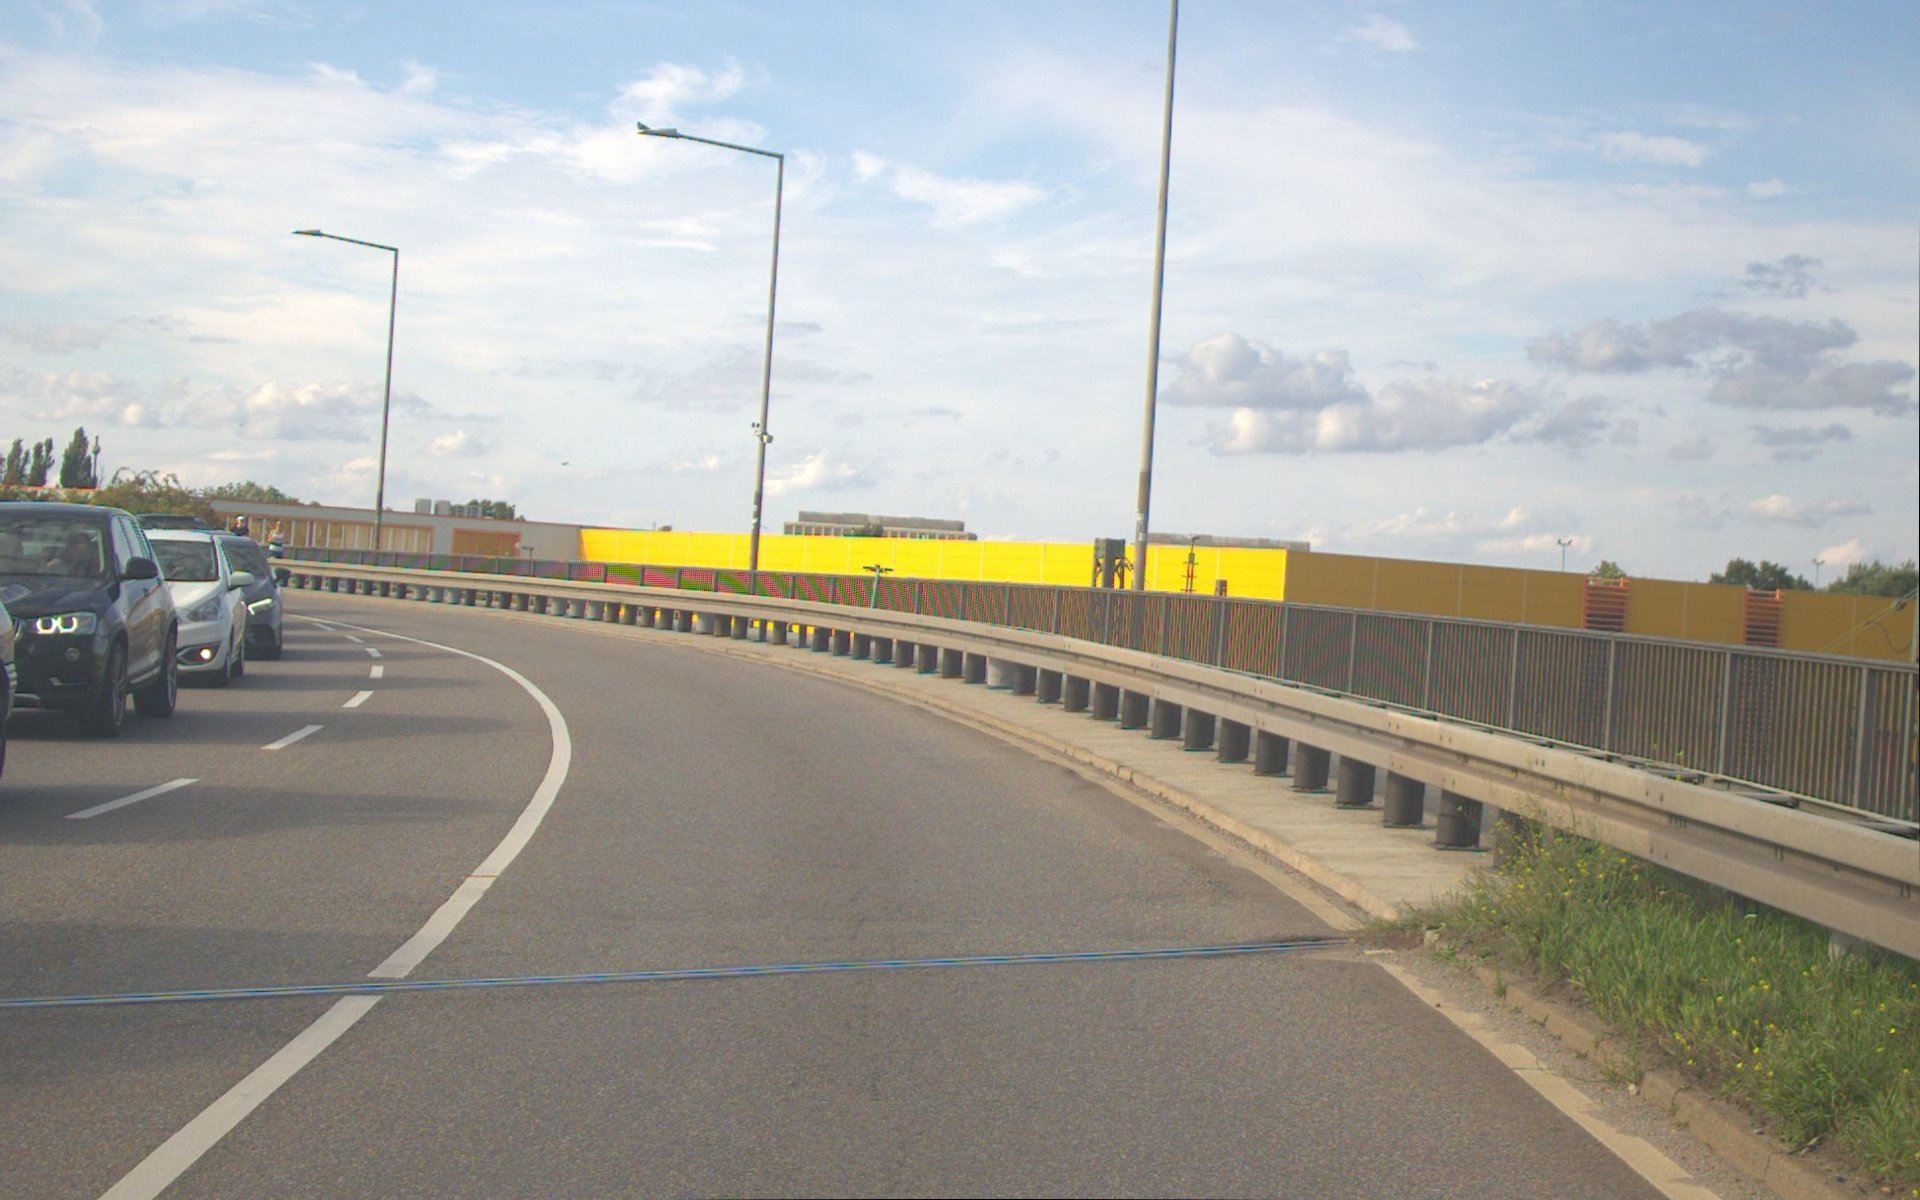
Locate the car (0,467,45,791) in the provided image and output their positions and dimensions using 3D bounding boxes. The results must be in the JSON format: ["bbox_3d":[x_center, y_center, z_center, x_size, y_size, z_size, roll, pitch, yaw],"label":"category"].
[{"bbox_3d":[-5.986,0.159,17.429,1.773,1.740,3.838,1,1,-2],"label":"car"}]

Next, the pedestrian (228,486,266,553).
[{"bbox_3d":[-18.112,-2.048,87.323,0.676,1.656,0.865,1,1,-31],"label":"pedestrian"}]

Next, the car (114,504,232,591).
[{"bbox_3d":[-14.285,-0.977,62.266,1.759,1.484,4.447,1,1,-17],"label":"car"}]

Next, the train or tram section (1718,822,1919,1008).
[{"bbox_3d":[29.210,8.862,99.008,16.693,4.696,3.097,1,1,-31],"label":"train or tram section"}]

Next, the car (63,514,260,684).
[{"bbox_3d":[-7.819,-0.056,33.915,1.682,1.540,3.924,1,1,-11],"label":"car"}]

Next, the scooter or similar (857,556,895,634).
[{"bbox_3d":[-1.281,-0.086,52.348,0.265,1.158,1.189,1,1,-16],"label":"scooter or similar"}]

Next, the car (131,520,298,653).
[{"bbox_3d":[-8.952,-0.196,41.130,1.812,1.451,4.326,1,1,-13],"label":"car"}]

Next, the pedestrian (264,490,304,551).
[{"bbox_3d":[-17.280,-2.031,87.876,0.676,1.538,0.961,1,1,-31],"label":"pedestrian"}]

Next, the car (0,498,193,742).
[{"bbox_3d":[-6.946,0.069,25.910,1.869,1.660,4.631,1,1,-8],"label":"car"}]
